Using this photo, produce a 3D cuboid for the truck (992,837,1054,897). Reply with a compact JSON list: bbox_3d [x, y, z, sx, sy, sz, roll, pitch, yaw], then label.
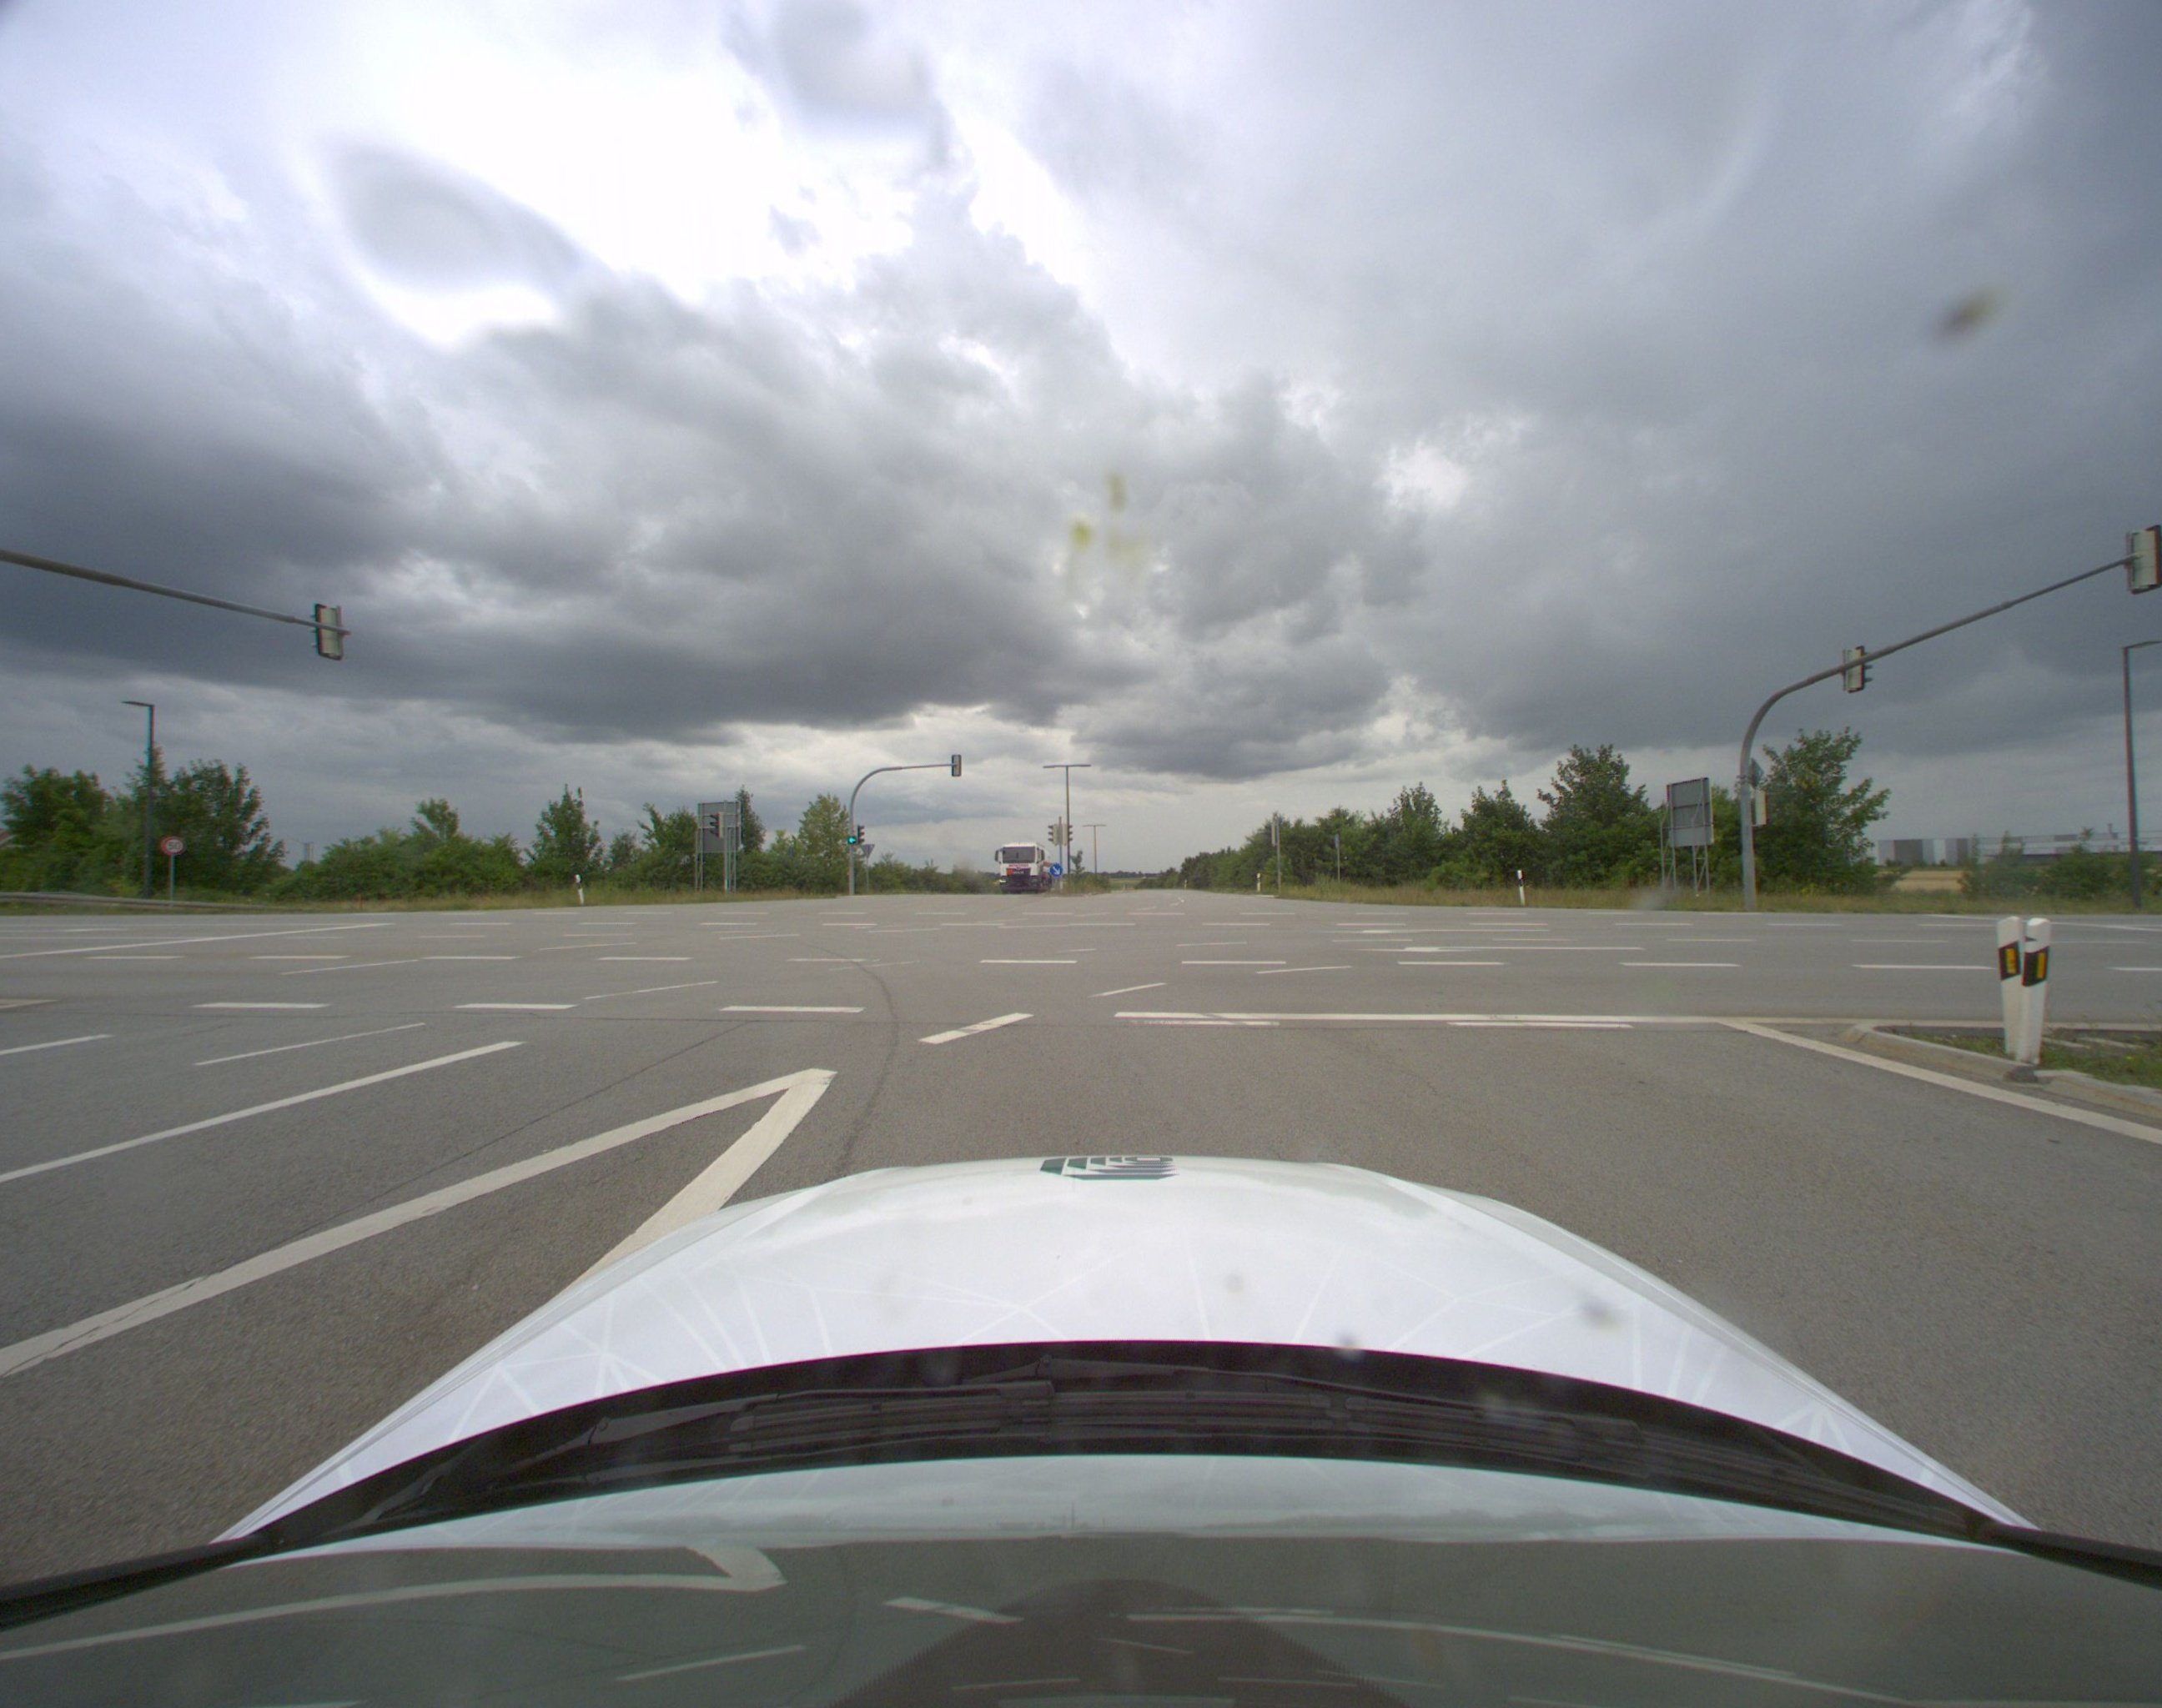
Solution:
[{"bbox_3d":[-3.551,0.926,51.744,2.858,3.408,8.654,-1,-2,3],"label":"truck"}]
